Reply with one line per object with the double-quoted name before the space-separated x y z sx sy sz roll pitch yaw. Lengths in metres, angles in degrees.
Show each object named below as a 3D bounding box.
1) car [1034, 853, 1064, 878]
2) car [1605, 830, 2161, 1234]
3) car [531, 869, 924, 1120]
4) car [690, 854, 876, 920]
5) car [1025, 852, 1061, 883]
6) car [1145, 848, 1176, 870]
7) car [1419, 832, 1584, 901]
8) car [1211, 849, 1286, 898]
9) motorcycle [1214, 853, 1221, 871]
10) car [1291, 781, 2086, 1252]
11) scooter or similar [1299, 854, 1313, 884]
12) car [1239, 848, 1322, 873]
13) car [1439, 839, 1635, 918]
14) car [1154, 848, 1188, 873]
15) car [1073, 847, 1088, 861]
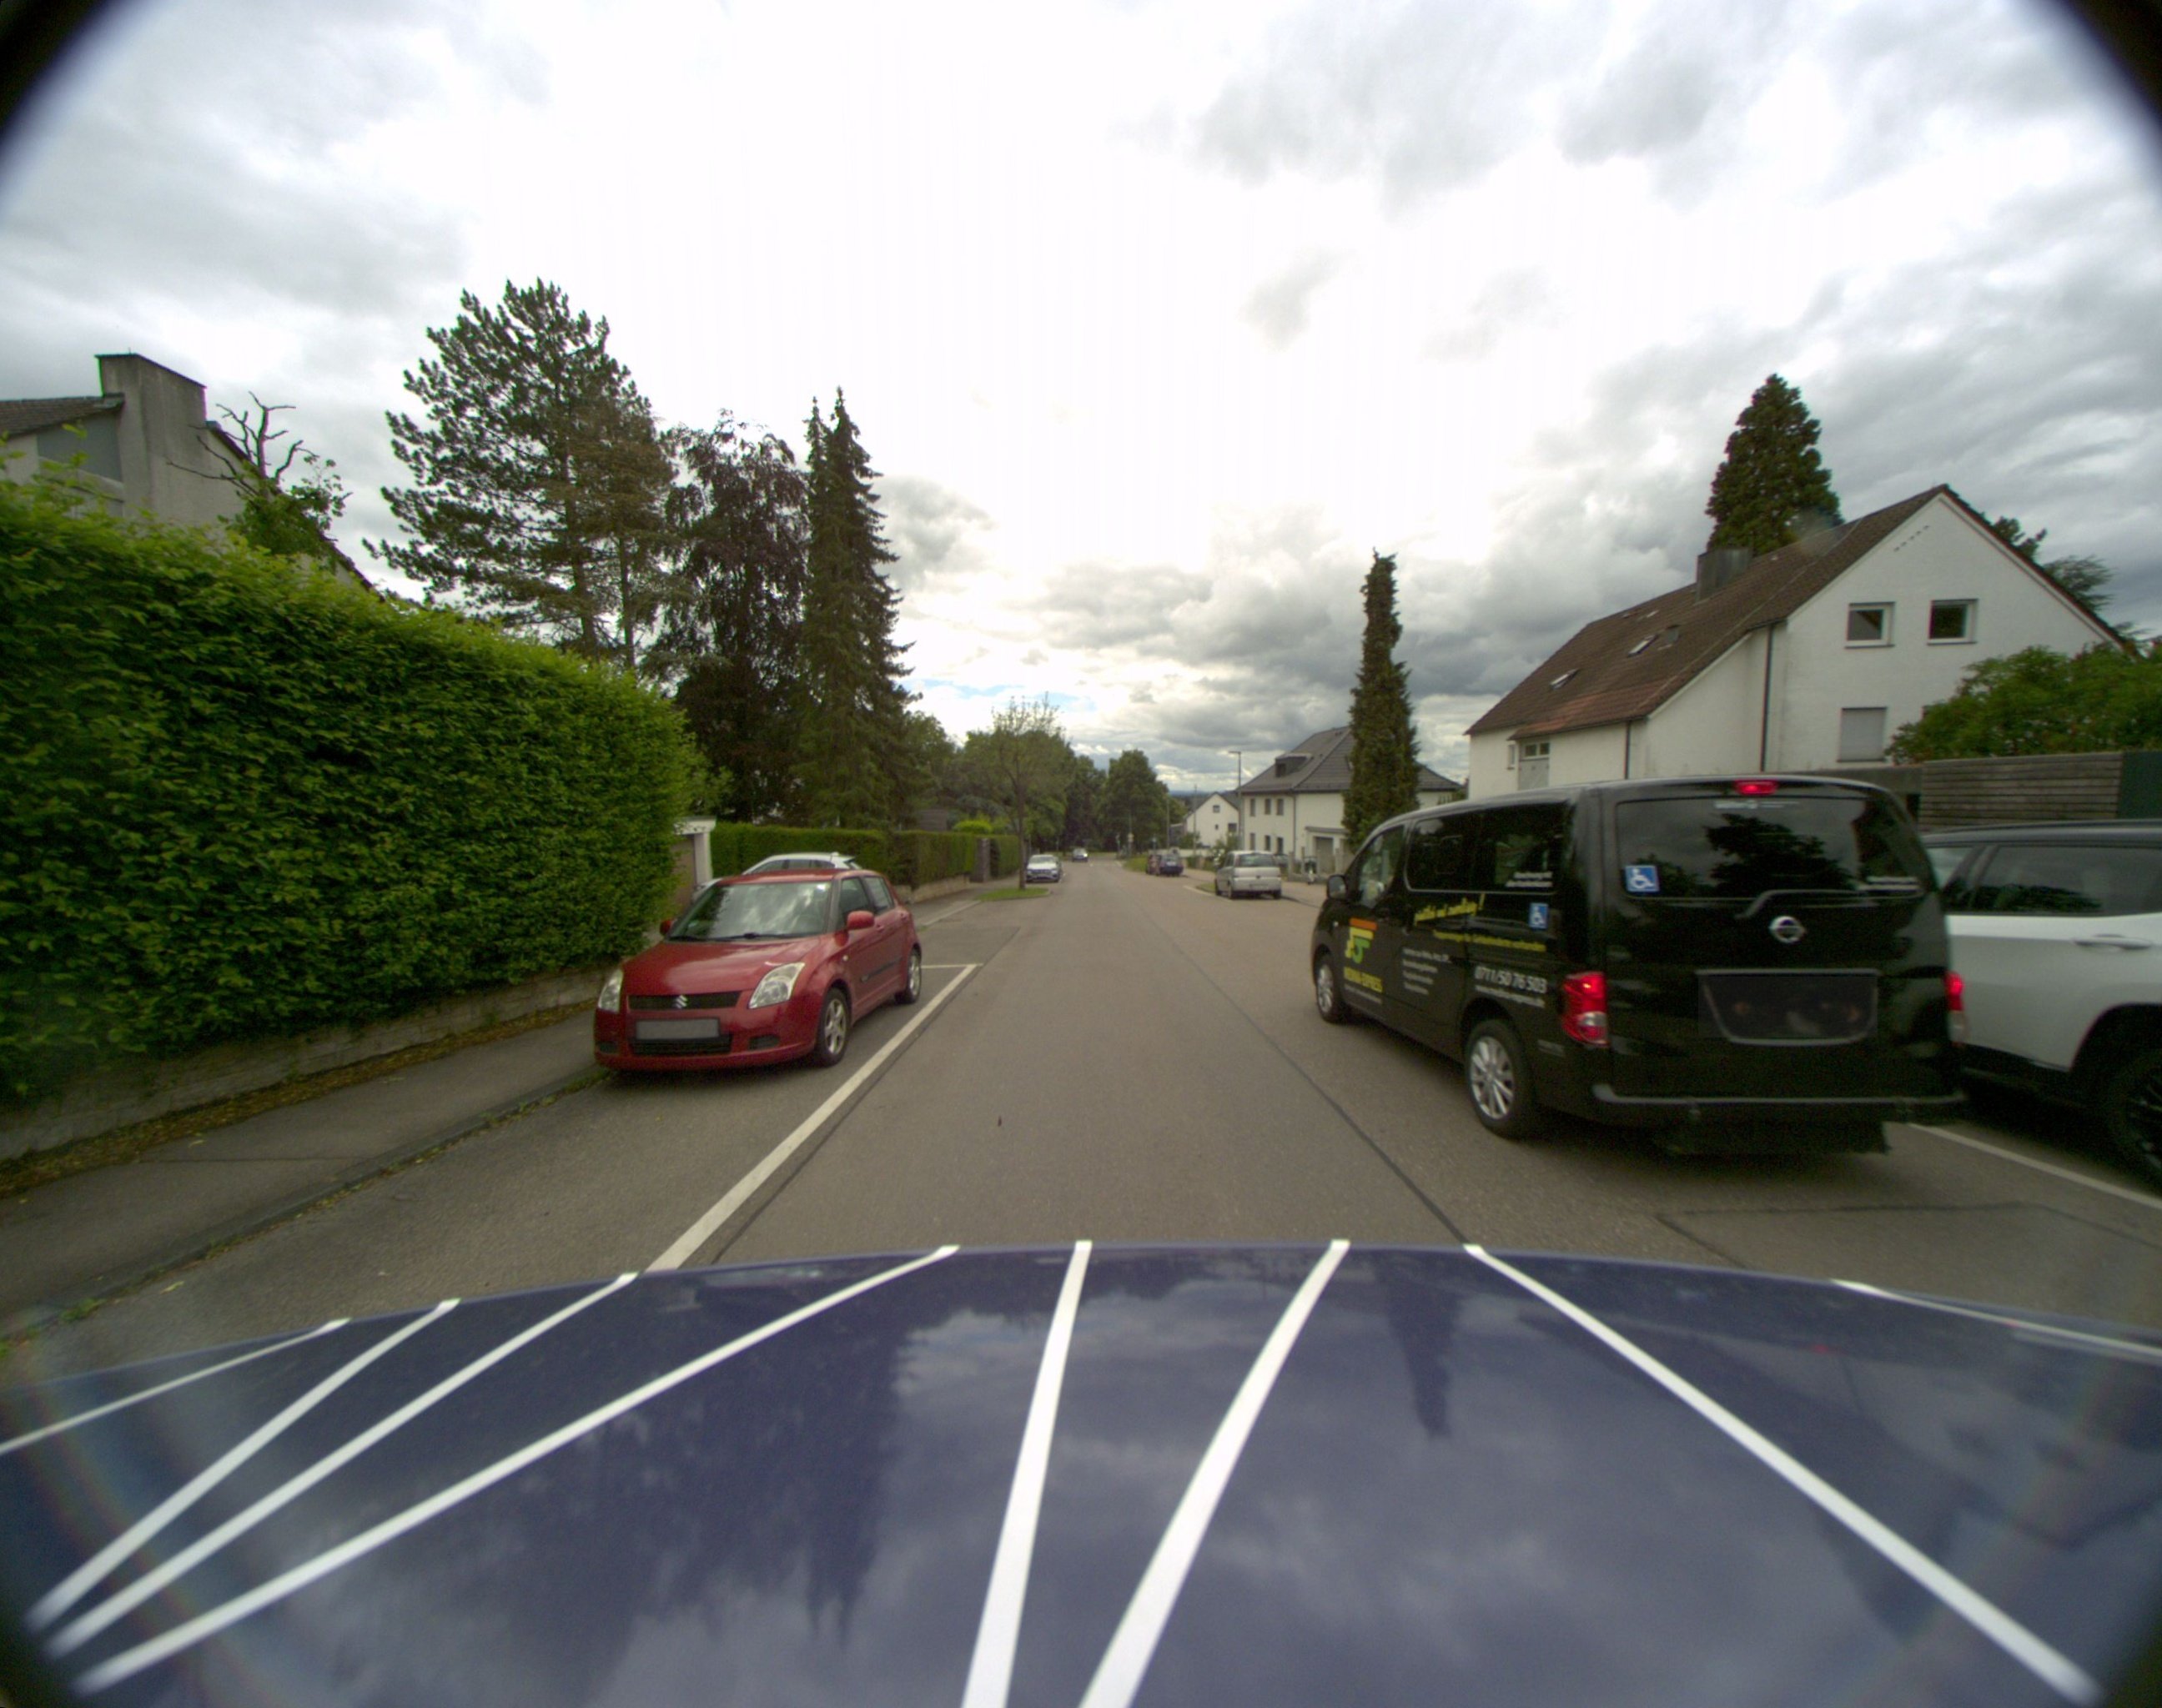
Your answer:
"car" -2.059 0.694 49.914 1.860 1.456 4.170 -2 1 -1
"car" 5.387 0.725 4.317 1.842 1.657 4.408 0 1 1
"car" -2.670 0.945 6.784 1.665 1.499 3.758 -1 0 1
"car" -7.706 0.822 20.066 4.221 1.590 1.880 -1 1 -8
"car" -2.139 0.742 43.723 1.860 1.573 4.170 -2 1 -1
"car" 5.833 0.338 55.991 1.882 1.576 3.871 -1 1 1
"car" 11.110 0.311 20.247 3.437 1.569 1.656 -3 2 2
"car" 5.688 0.601 26.240 1.765 1.554 3.855 0 1 0
"motorcycle" 9.359 0.555 52.061 0.430 1.154 1.863 0 2 8
"car" 2.971 0.619 5.169 1.890 1.840 4.401 0 1 0
"scooter or similar" 9.221 0.599 31.090 0.475 1.142 1.456 -3 1 17
"car" 11.639 0.347 44.509 4.299 1.360 1.903 -1 1 -5
"car" 10.354 0.523 17.450 3.437 1.504 1.692 -3 2 2
"car" 5.915 0.397 50.400 1.882 1.528 3.507 -1 1 1
"car" -0.052 0.018 86.047 1.568 1.504 3.396 -1 1 -1
